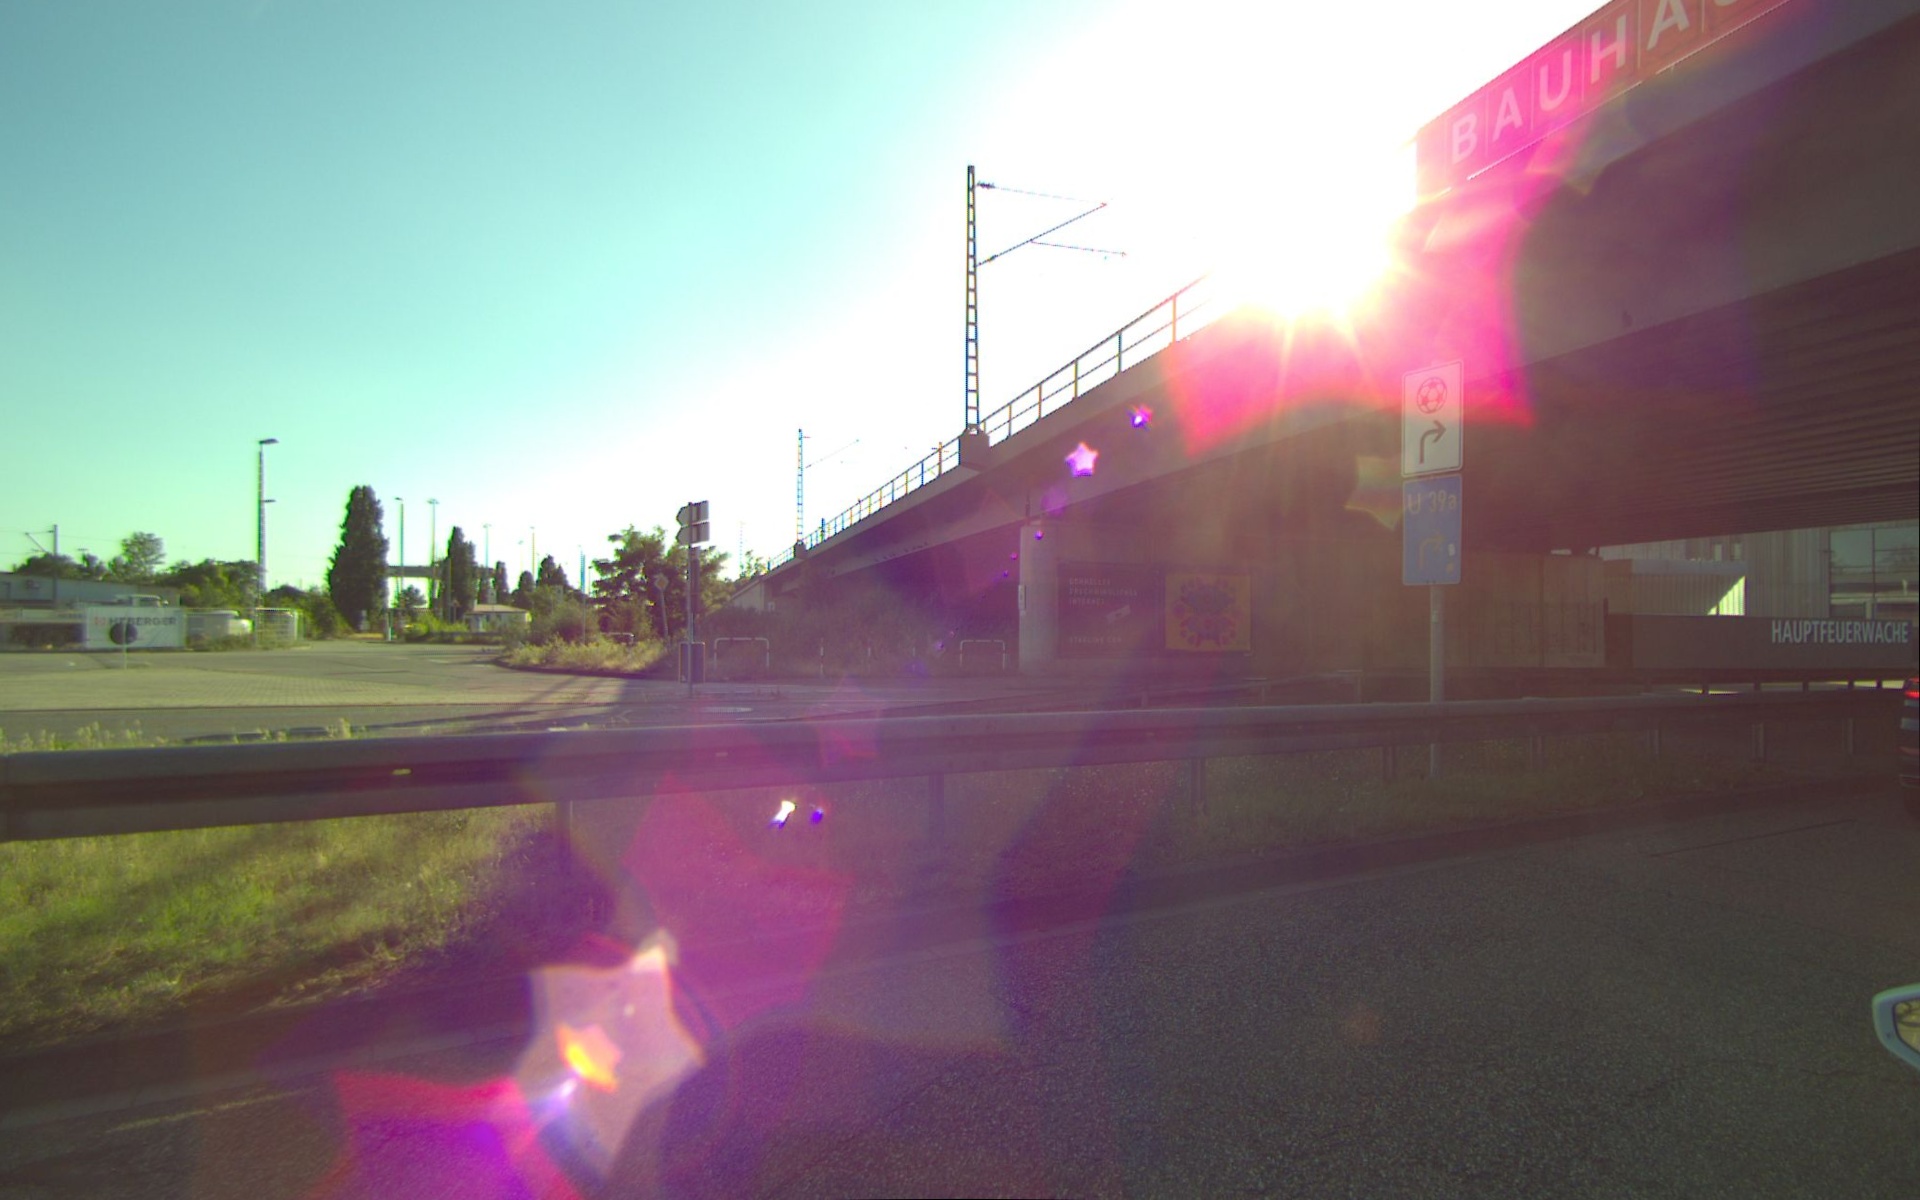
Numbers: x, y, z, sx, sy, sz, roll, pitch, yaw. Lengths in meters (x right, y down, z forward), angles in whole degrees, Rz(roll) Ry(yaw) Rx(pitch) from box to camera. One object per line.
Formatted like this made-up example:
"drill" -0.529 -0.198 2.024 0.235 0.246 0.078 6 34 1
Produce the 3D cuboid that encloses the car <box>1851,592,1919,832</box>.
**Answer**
"car" 9.301 0.898 7.876 4.475 1.757 1.986 2 0 -28
